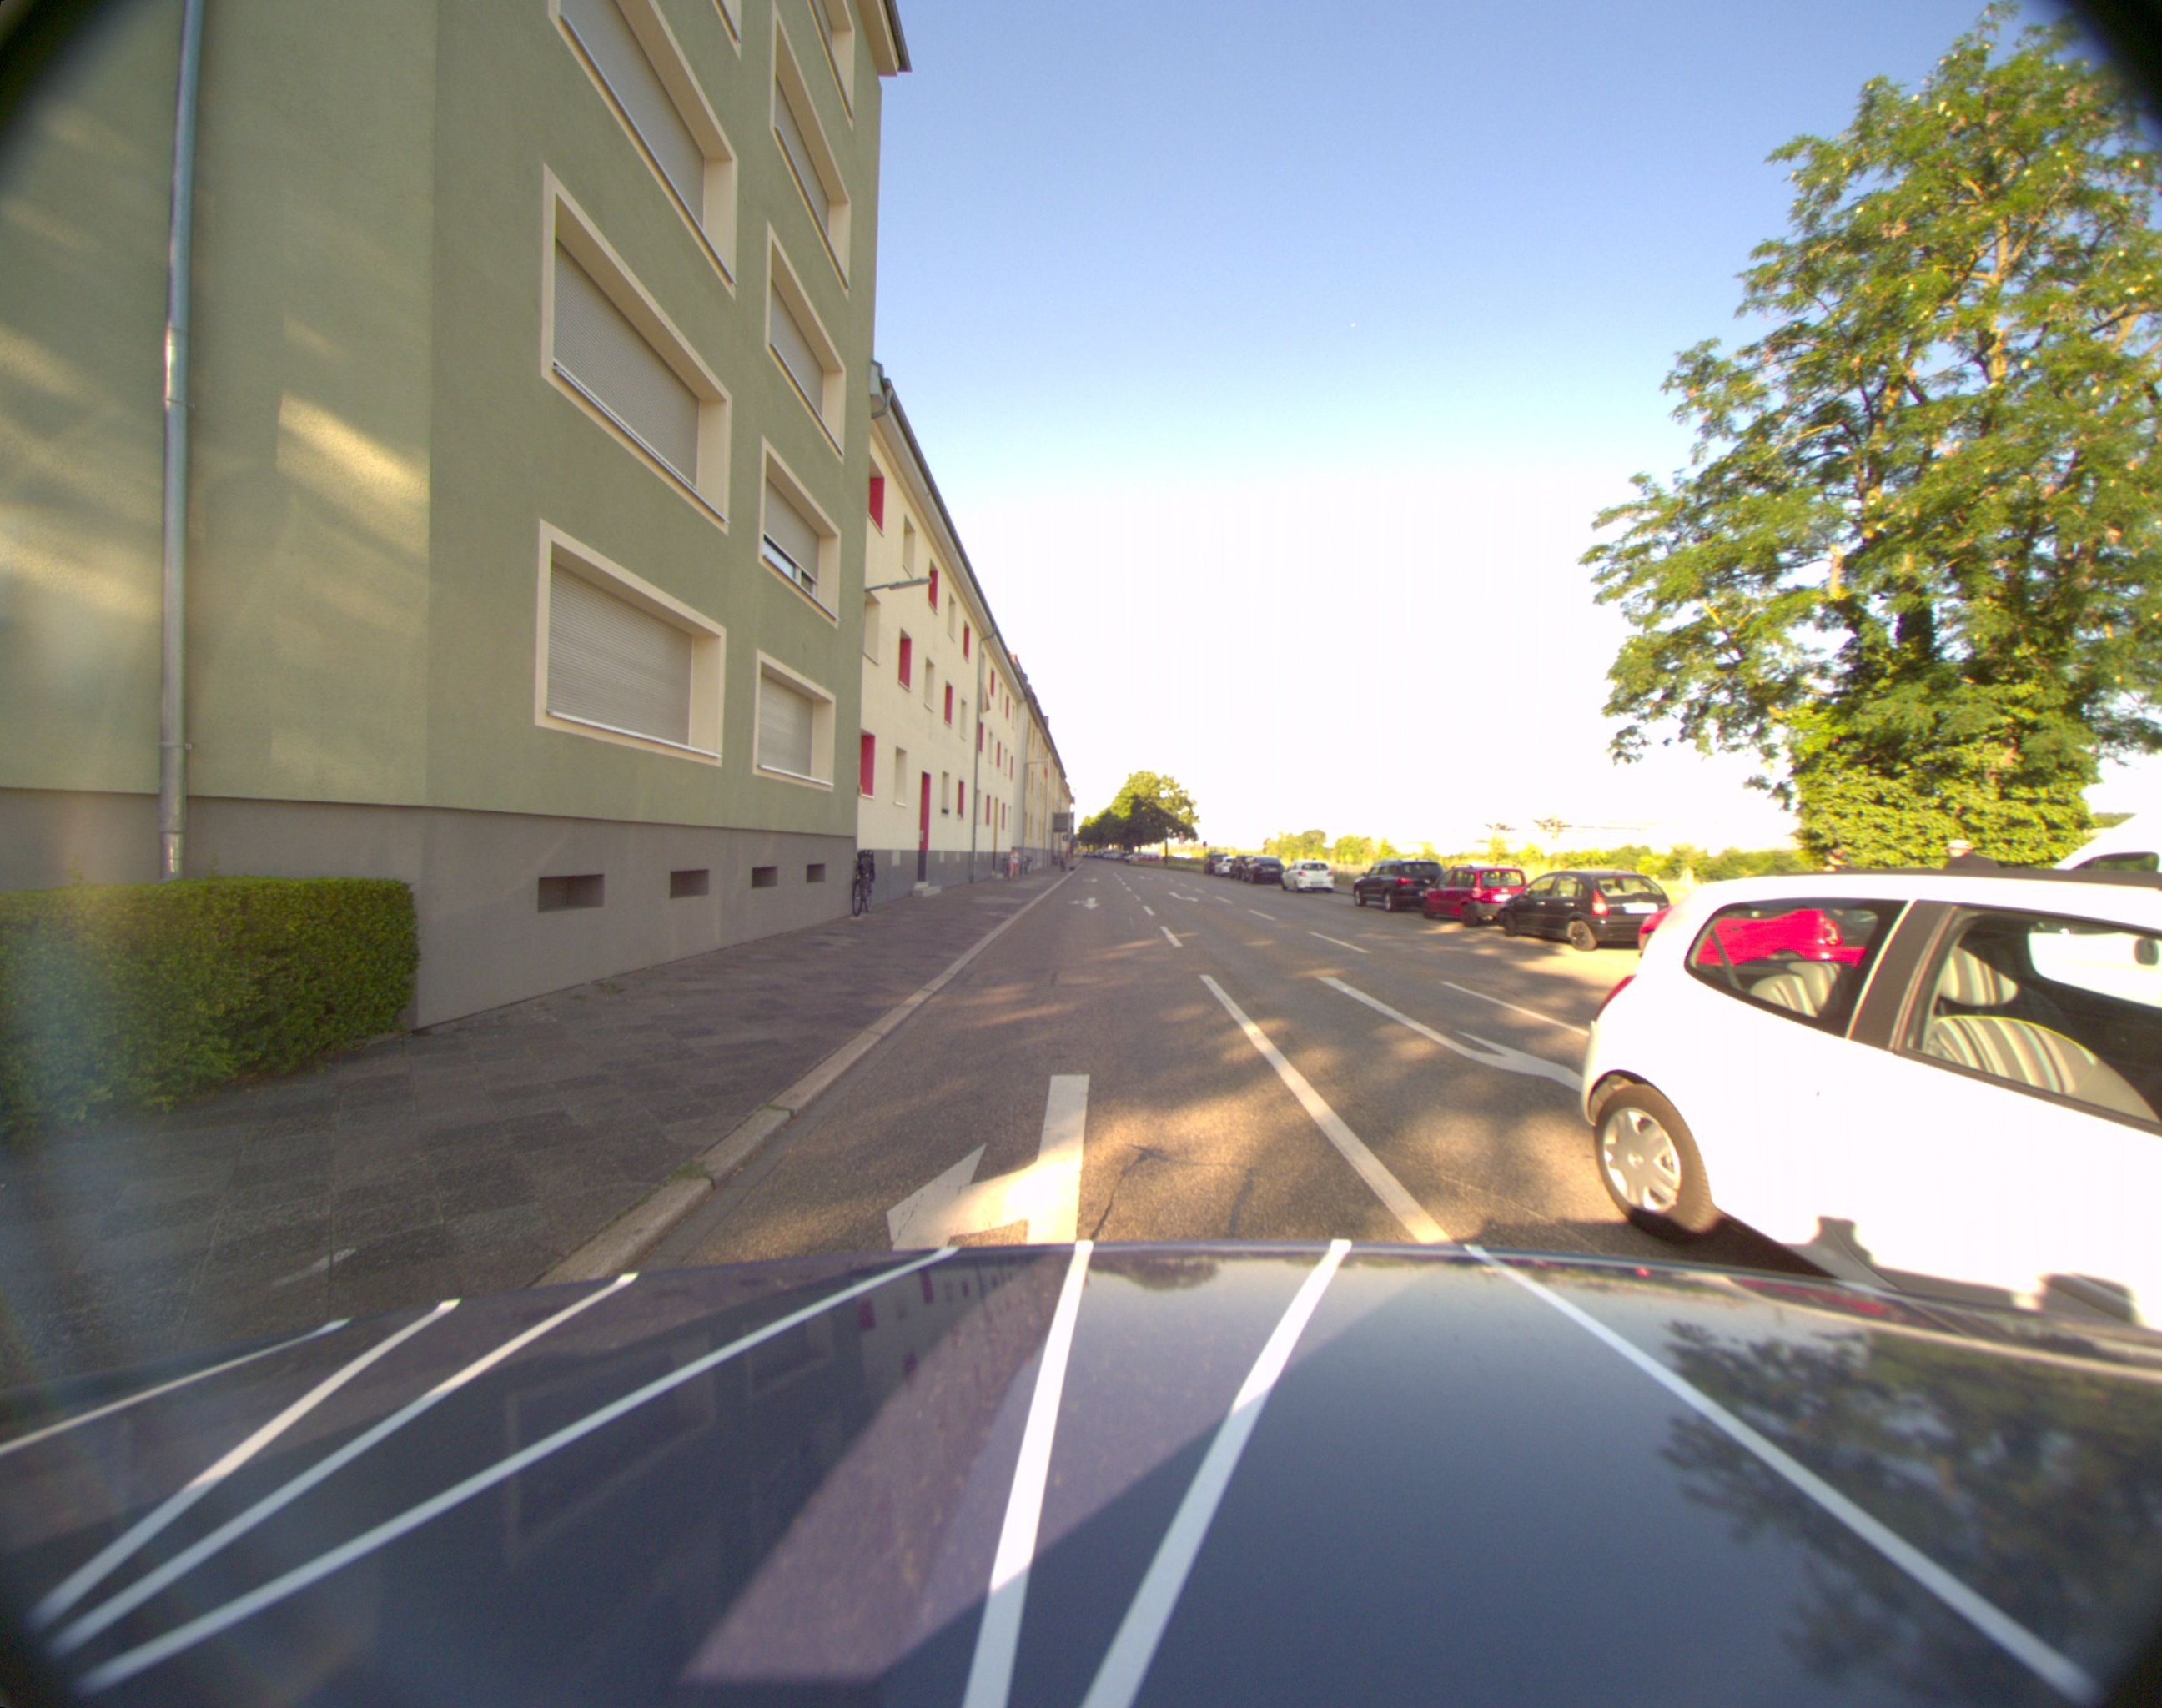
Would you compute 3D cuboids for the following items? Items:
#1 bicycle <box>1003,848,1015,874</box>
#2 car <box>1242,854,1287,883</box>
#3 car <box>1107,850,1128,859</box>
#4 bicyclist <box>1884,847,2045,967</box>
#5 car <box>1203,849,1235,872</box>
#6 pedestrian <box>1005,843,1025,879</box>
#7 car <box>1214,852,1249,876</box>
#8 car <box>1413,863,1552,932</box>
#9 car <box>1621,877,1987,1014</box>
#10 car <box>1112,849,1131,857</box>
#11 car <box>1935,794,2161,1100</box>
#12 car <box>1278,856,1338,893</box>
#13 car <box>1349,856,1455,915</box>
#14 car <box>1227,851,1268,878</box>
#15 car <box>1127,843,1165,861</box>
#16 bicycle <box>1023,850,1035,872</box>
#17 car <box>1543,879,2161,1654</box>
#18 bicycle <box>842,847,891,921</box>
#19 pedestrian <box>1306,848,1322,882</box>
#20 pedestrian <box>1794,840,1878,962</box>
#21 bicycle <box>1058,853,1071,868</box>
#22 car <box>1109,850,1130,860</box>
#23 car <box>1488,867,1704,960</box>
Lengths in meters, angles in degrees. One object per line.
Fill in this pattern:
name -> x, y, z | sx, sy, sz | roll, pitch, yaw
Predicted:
bicycle -> -3.930, 0.366, 41.380 | 0.517, 1.404, 1.873 | 2, 1, -3
car -> 10.574, 0.790, 44.008 | 1.823, 1.517, 4.291 | 2, 1, 5
car -> 7.423, 0.161, 155.321 | 3.997, 1.708, 2.000 | 2, 1, -1
bicyclist -> 12.383, 0.709, 10.701 | 0.867, 1.587, 1.145 | 1, 1, -5
car -> 11.006, 0.499, 60.986 | 1.890, 1.765, 4.220 | 2, 1, 2
pedestrian -> -3.255, 0.344, 37.494 | 0.787, 1.697, 0.950 | 3, 1, 1
car -> 10.857, 0.683, 55.101 | 1.823, 1.565, 4.220 | 2, 1, 2
car -> 10.266, 1.044, 19.733 | 1.664, 1.521, 3.579 | 2, 1, 0
car -> 10.070, 1.160, 11.047 | 1.745, 1.478, 3.694 | 2, 1, 0
car -> 9.199, -0.258, 173.170 | 3.997, 1.708, 2.000 | 2, 1, -1
car -> 9.690, 0.730, 4.825 | 2.235, 2.422, 5.559 | -1, 1, -1
car -> 10.414, 0.899, 35.075 | 1.706, 1.517, 3.583 | 2, 1, 1
car -> 10.144, 0.929, 24.354 | 1.664, 1.649, 4.005 | 2, 1, 0
car -> 10.851, 0.659, 49.708 | 1.823, 1.628, 4.220 | 2, 1, 2
car -> 9.525, -0.327, 112.247 | 5.322, 2.398, 2.266 | -2, 1, 0
bicycle -> -3.160, 0.416, 46.312 | 0.517, 1.318, 2.210 | 2, 1, 2
car -> 3.016, 0.881, 1.614 | 1.705, 1.460, 3.775 | 2, 1, -1
bicycle -> -4.307, 0.563, 15.376 | 0.517, 1.404, 1.873 | 2, 1, -3
pedestrian -> 13.793, 0.647, 45.013 | 0.706, 2.002, 0.710 | 2, 1, 2
pedestrian -> 12.850, 0.775, 12.958 | 0.615, 2.002, 0.730 | 2, 1, -1
bicycle -> -1.245, 0.472, 56.847 | 0.651, 1.091, 2.201 | 1, 1, -8
car -> 7.491, 0.221, 149.738 | 3.997, 1.708, 2.000 | 2, 1, -1
car -> 10.172, 1.086, 15.417 | 1.745, 1.521, 3.816 | 2, 1, 0
